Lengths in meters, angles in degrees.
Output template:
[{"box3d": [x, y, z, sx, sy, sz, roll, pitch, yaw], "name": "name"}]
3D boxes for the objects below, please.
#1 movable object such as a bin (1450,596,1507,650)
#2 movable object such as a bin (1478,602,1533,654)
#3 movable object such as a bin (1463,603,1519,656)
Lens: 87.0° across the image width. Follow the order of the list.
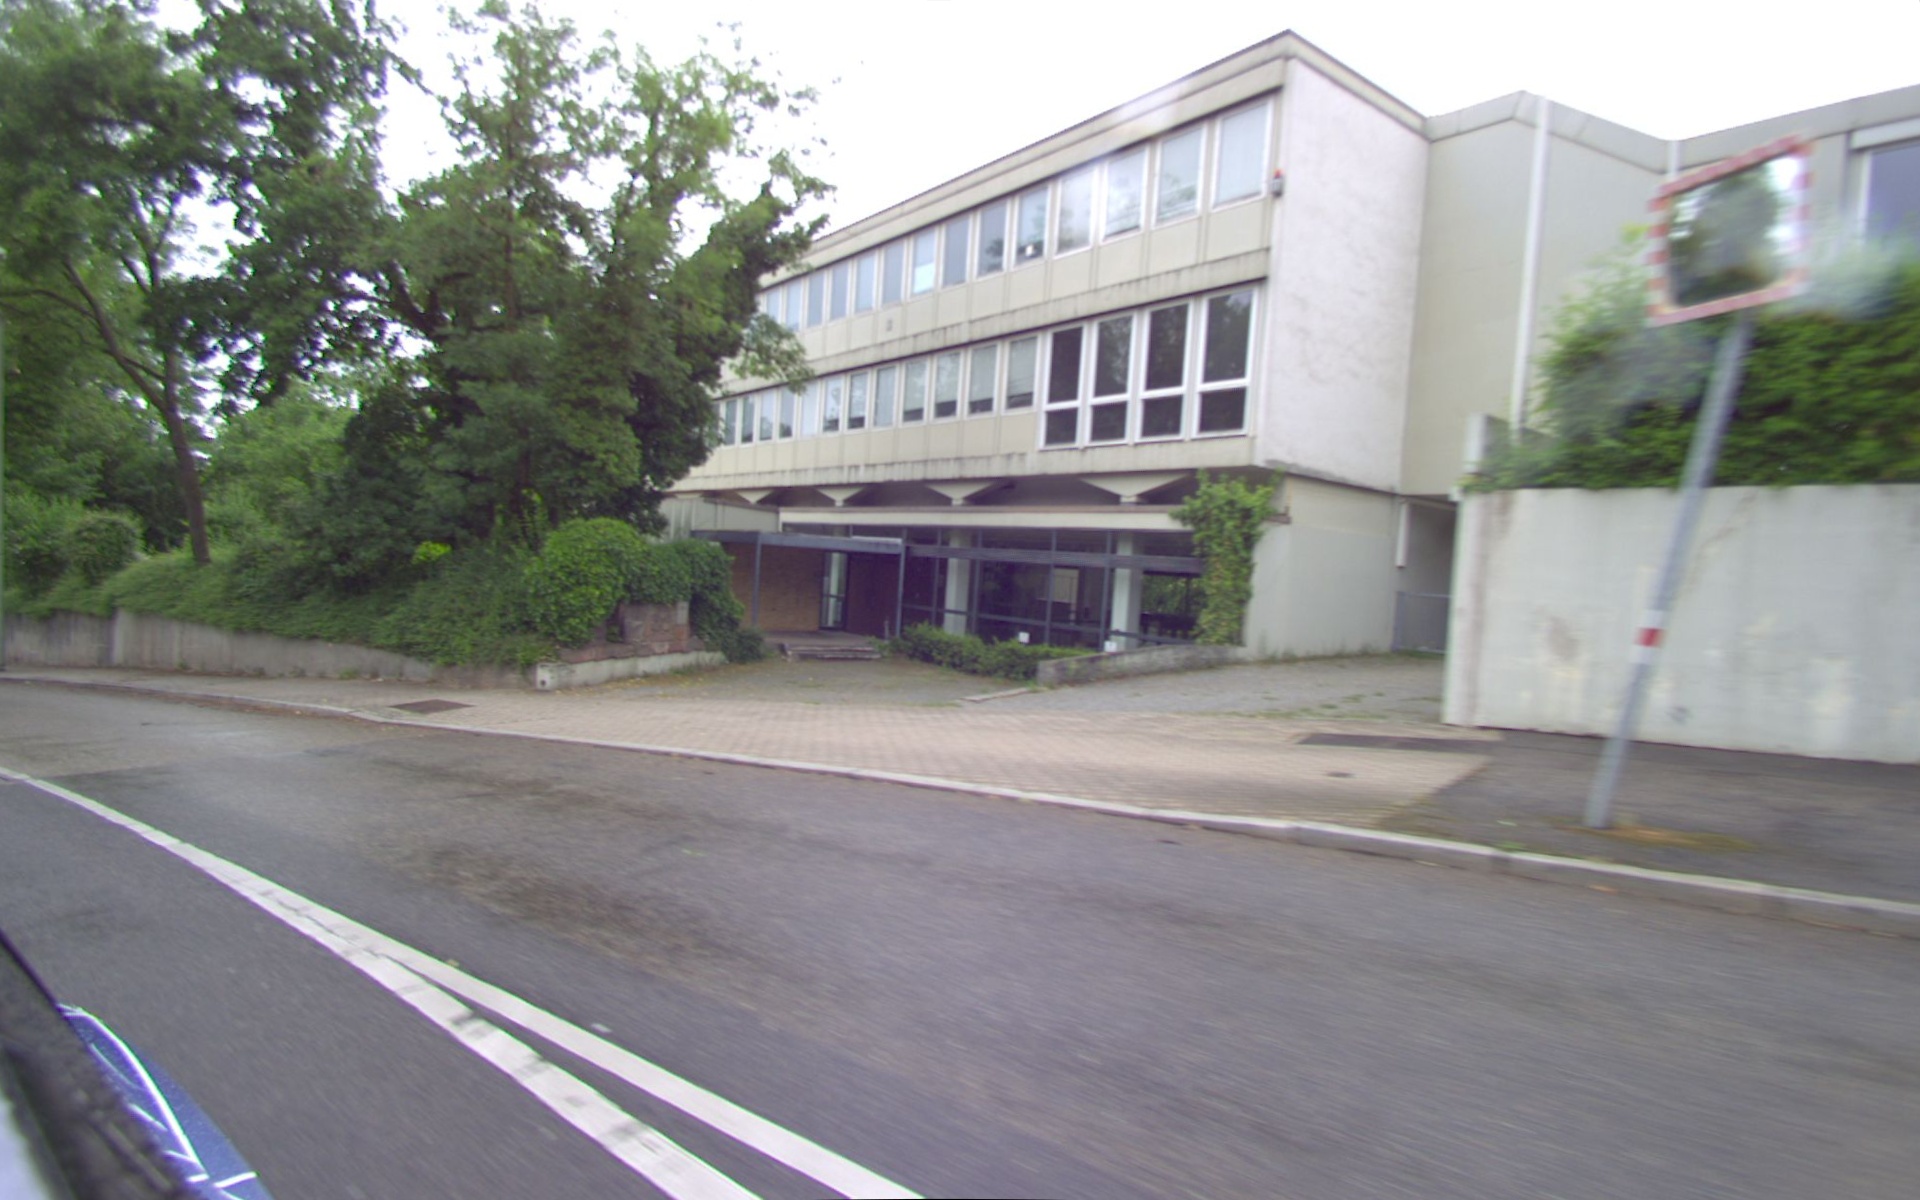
[{"box3d": [11.417, 0.492, 22.287, 0.461, 1.156, 1.014, 1, -1, -43], "name": "movable object such as a bin"}, {"box3d": [12.361, 0.631, 22.956, 0.461, 1.156, 1.014, 1, -1, -43], "name": "movable object such as a bin"}, {"box3d": [11.842, 0.654, 22.597, 0.461, 1.156, 1.014, 1, -1, -43], "name": "movable object such as a bin"}]
